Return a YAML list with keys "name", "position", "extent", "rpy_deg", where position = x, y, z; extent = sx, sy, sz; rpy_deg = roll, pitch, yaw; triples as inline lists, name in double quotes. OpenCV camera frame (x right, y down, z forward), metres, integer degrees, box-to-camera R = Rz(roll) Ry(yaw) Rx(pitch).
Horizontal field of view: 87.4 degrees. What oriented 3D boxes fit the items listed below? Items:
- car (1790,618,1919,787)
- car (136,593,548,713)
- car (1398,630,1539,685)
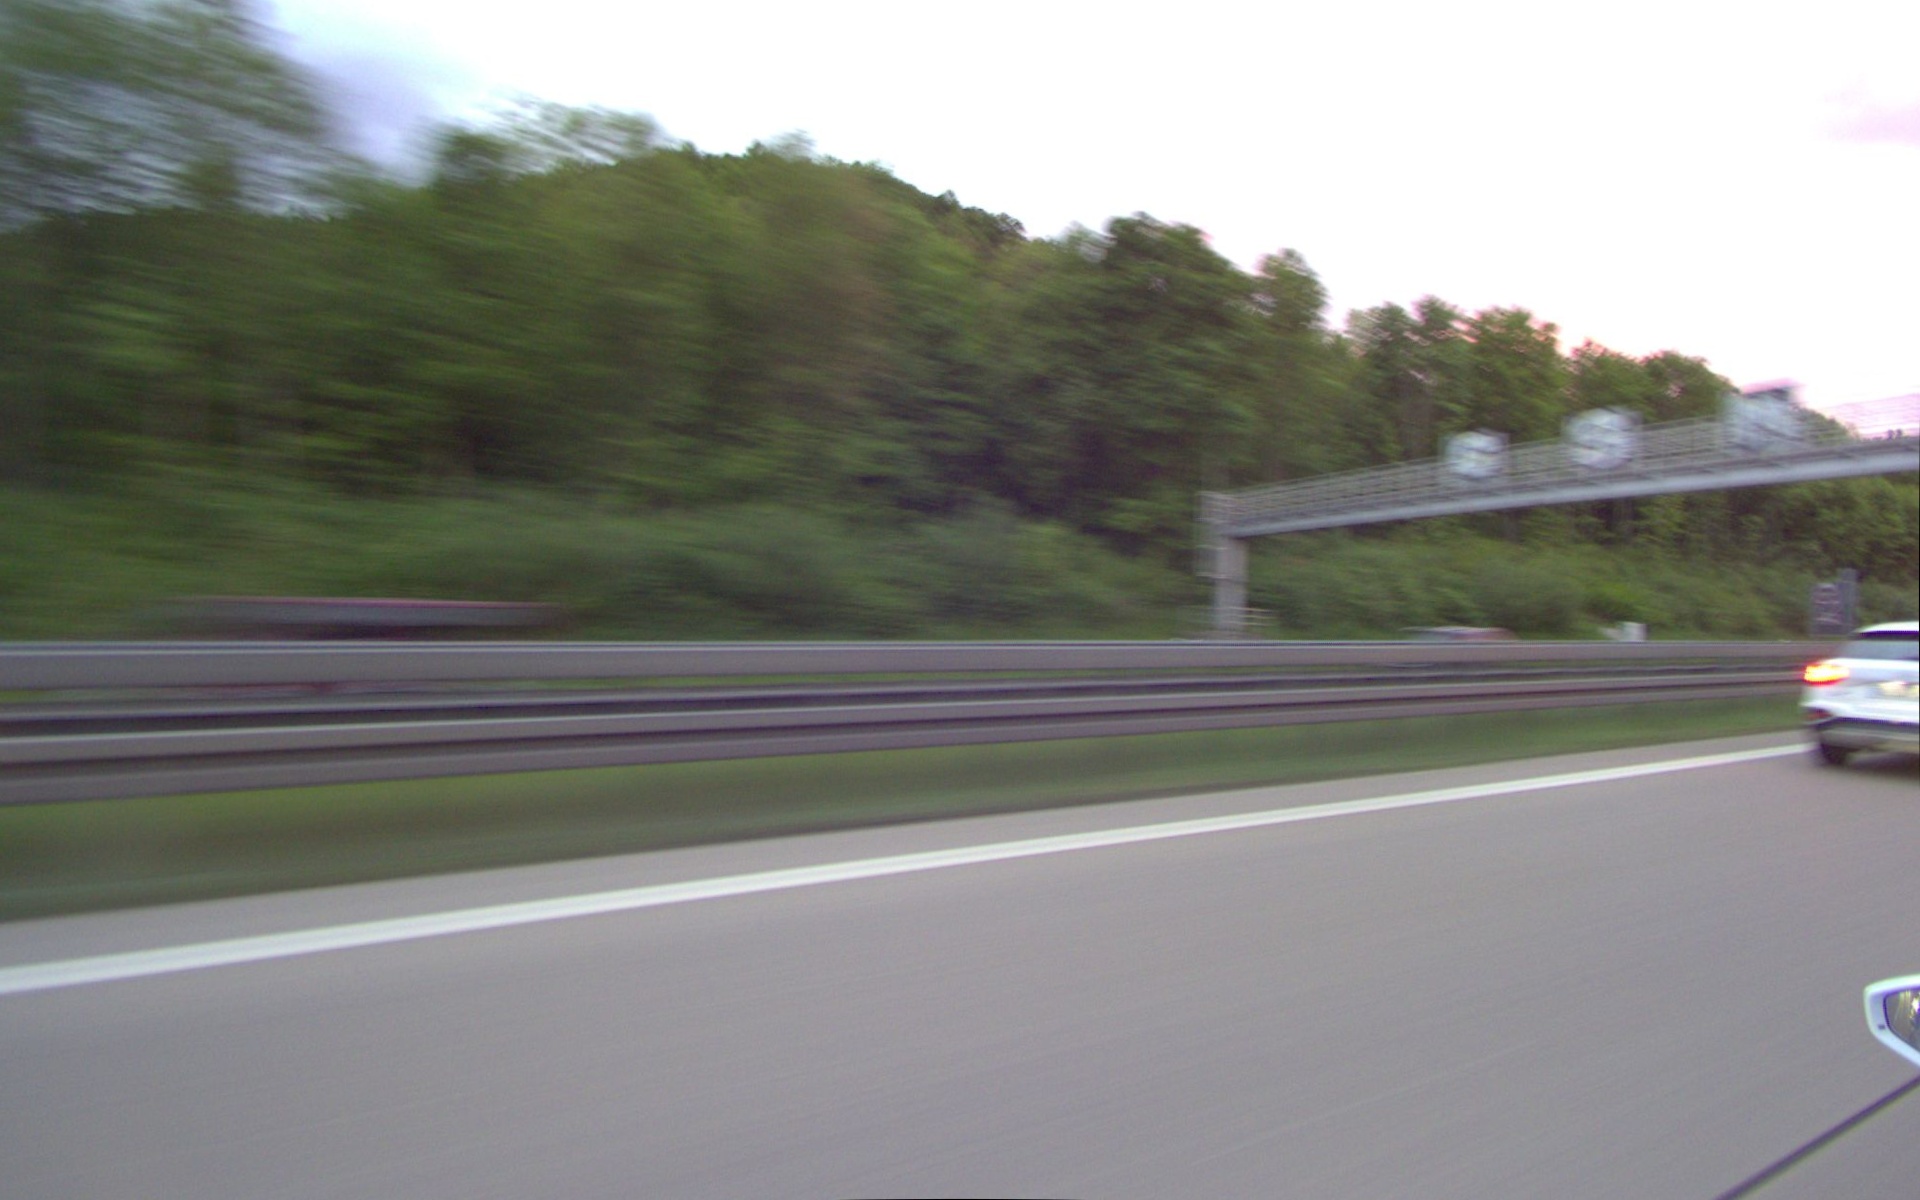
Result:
- name: "car"
  position: [10.906, 1.008, 10.582]
  extent: [4.980, 1.521, 1.780]
  rpy_deg: [1, 0, -31]
- name: "car"
  position: [-10.090, 0.857, 16.928]
  extent: [5.596, 1.757, 1.839]
  rpy_deg: [2, -1, -31]
- name: "car"
  position: [16.707, 1.863, 32.942]
  extent: [4.719, 1.660, 1.840]
  rpy_deg: [2, -1, -30]
